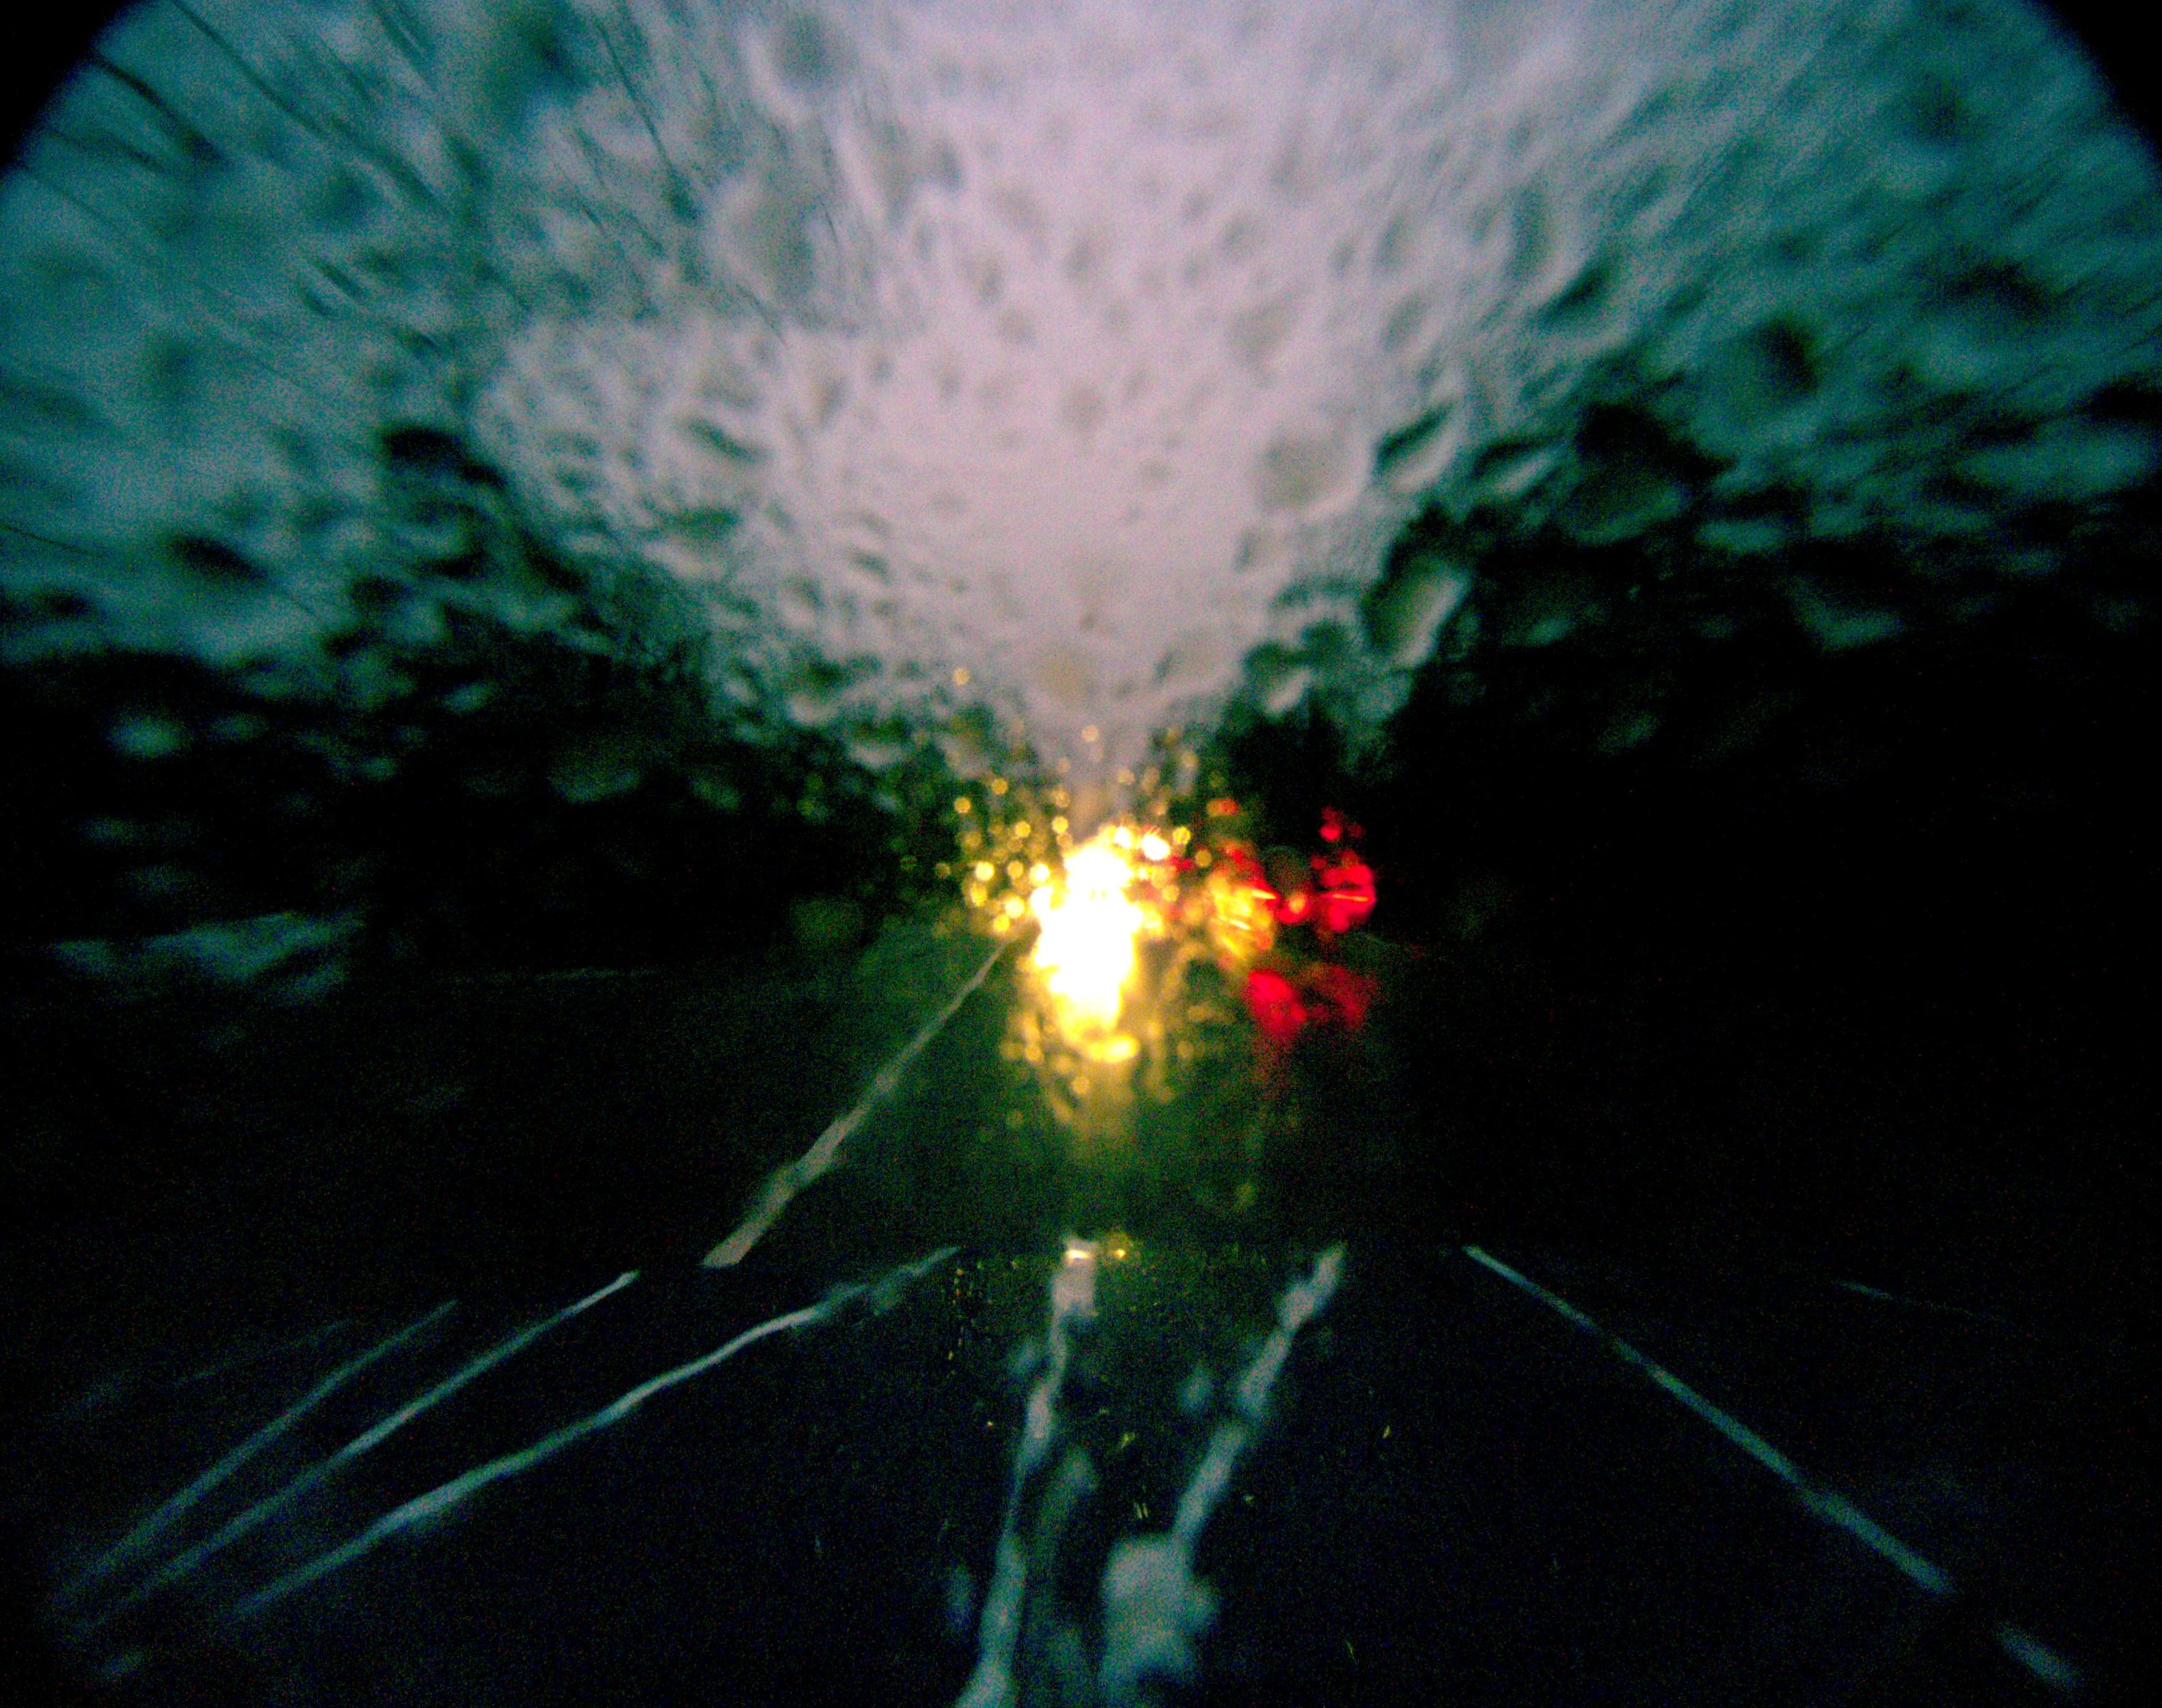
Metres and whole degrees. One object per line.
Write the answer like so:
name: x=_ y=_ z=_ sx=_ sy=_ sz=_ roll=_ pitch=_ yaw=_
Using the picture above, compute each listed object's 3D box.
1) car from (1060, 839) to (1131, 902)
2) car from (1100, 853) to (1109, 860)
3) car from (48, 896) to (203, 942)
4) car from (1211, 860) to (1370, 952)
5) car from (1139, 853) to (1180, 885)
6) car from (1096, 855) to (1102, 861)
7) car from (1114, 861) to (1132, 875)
car: x=0.617 y=0.599 z=30.896 sx=2.542 sy=2.213 sz=6.169 roll=-2 pitch=0 yaw=2
car: x=5.342 y=0.670 z=175.159 sx=1.979 sy=1.559 sz=4.928 roll=0 pitch=0 yaw=3
car: x=-38.313 y=2.551 z=30.618 sx=1.652 sy=1.487 sz=3.743 roll=-1 pitch=1 yaw=43
car: x=3.791 y=0.872 z=14.590 sx=1.873 sy=1.414 sz=4.387 roll=-1 pitch=0 yaw=1
car: x=4.329 y=0.789 z=42.522 sx=1.922 sy=1.599 sz=5.016 roll=-1 pitch=1 yaw=2
car: x=5.659 y=1.227 z=236.483 sx=1.826 sy=1.639 sz=4.750 roll=1 pitch=-1 yaw=1
car: x=4.368 y=1.475 z=80.146 sx=1.695 sy=1.411 sz=4.000 roll=-1 pitch=0 yaw=1
